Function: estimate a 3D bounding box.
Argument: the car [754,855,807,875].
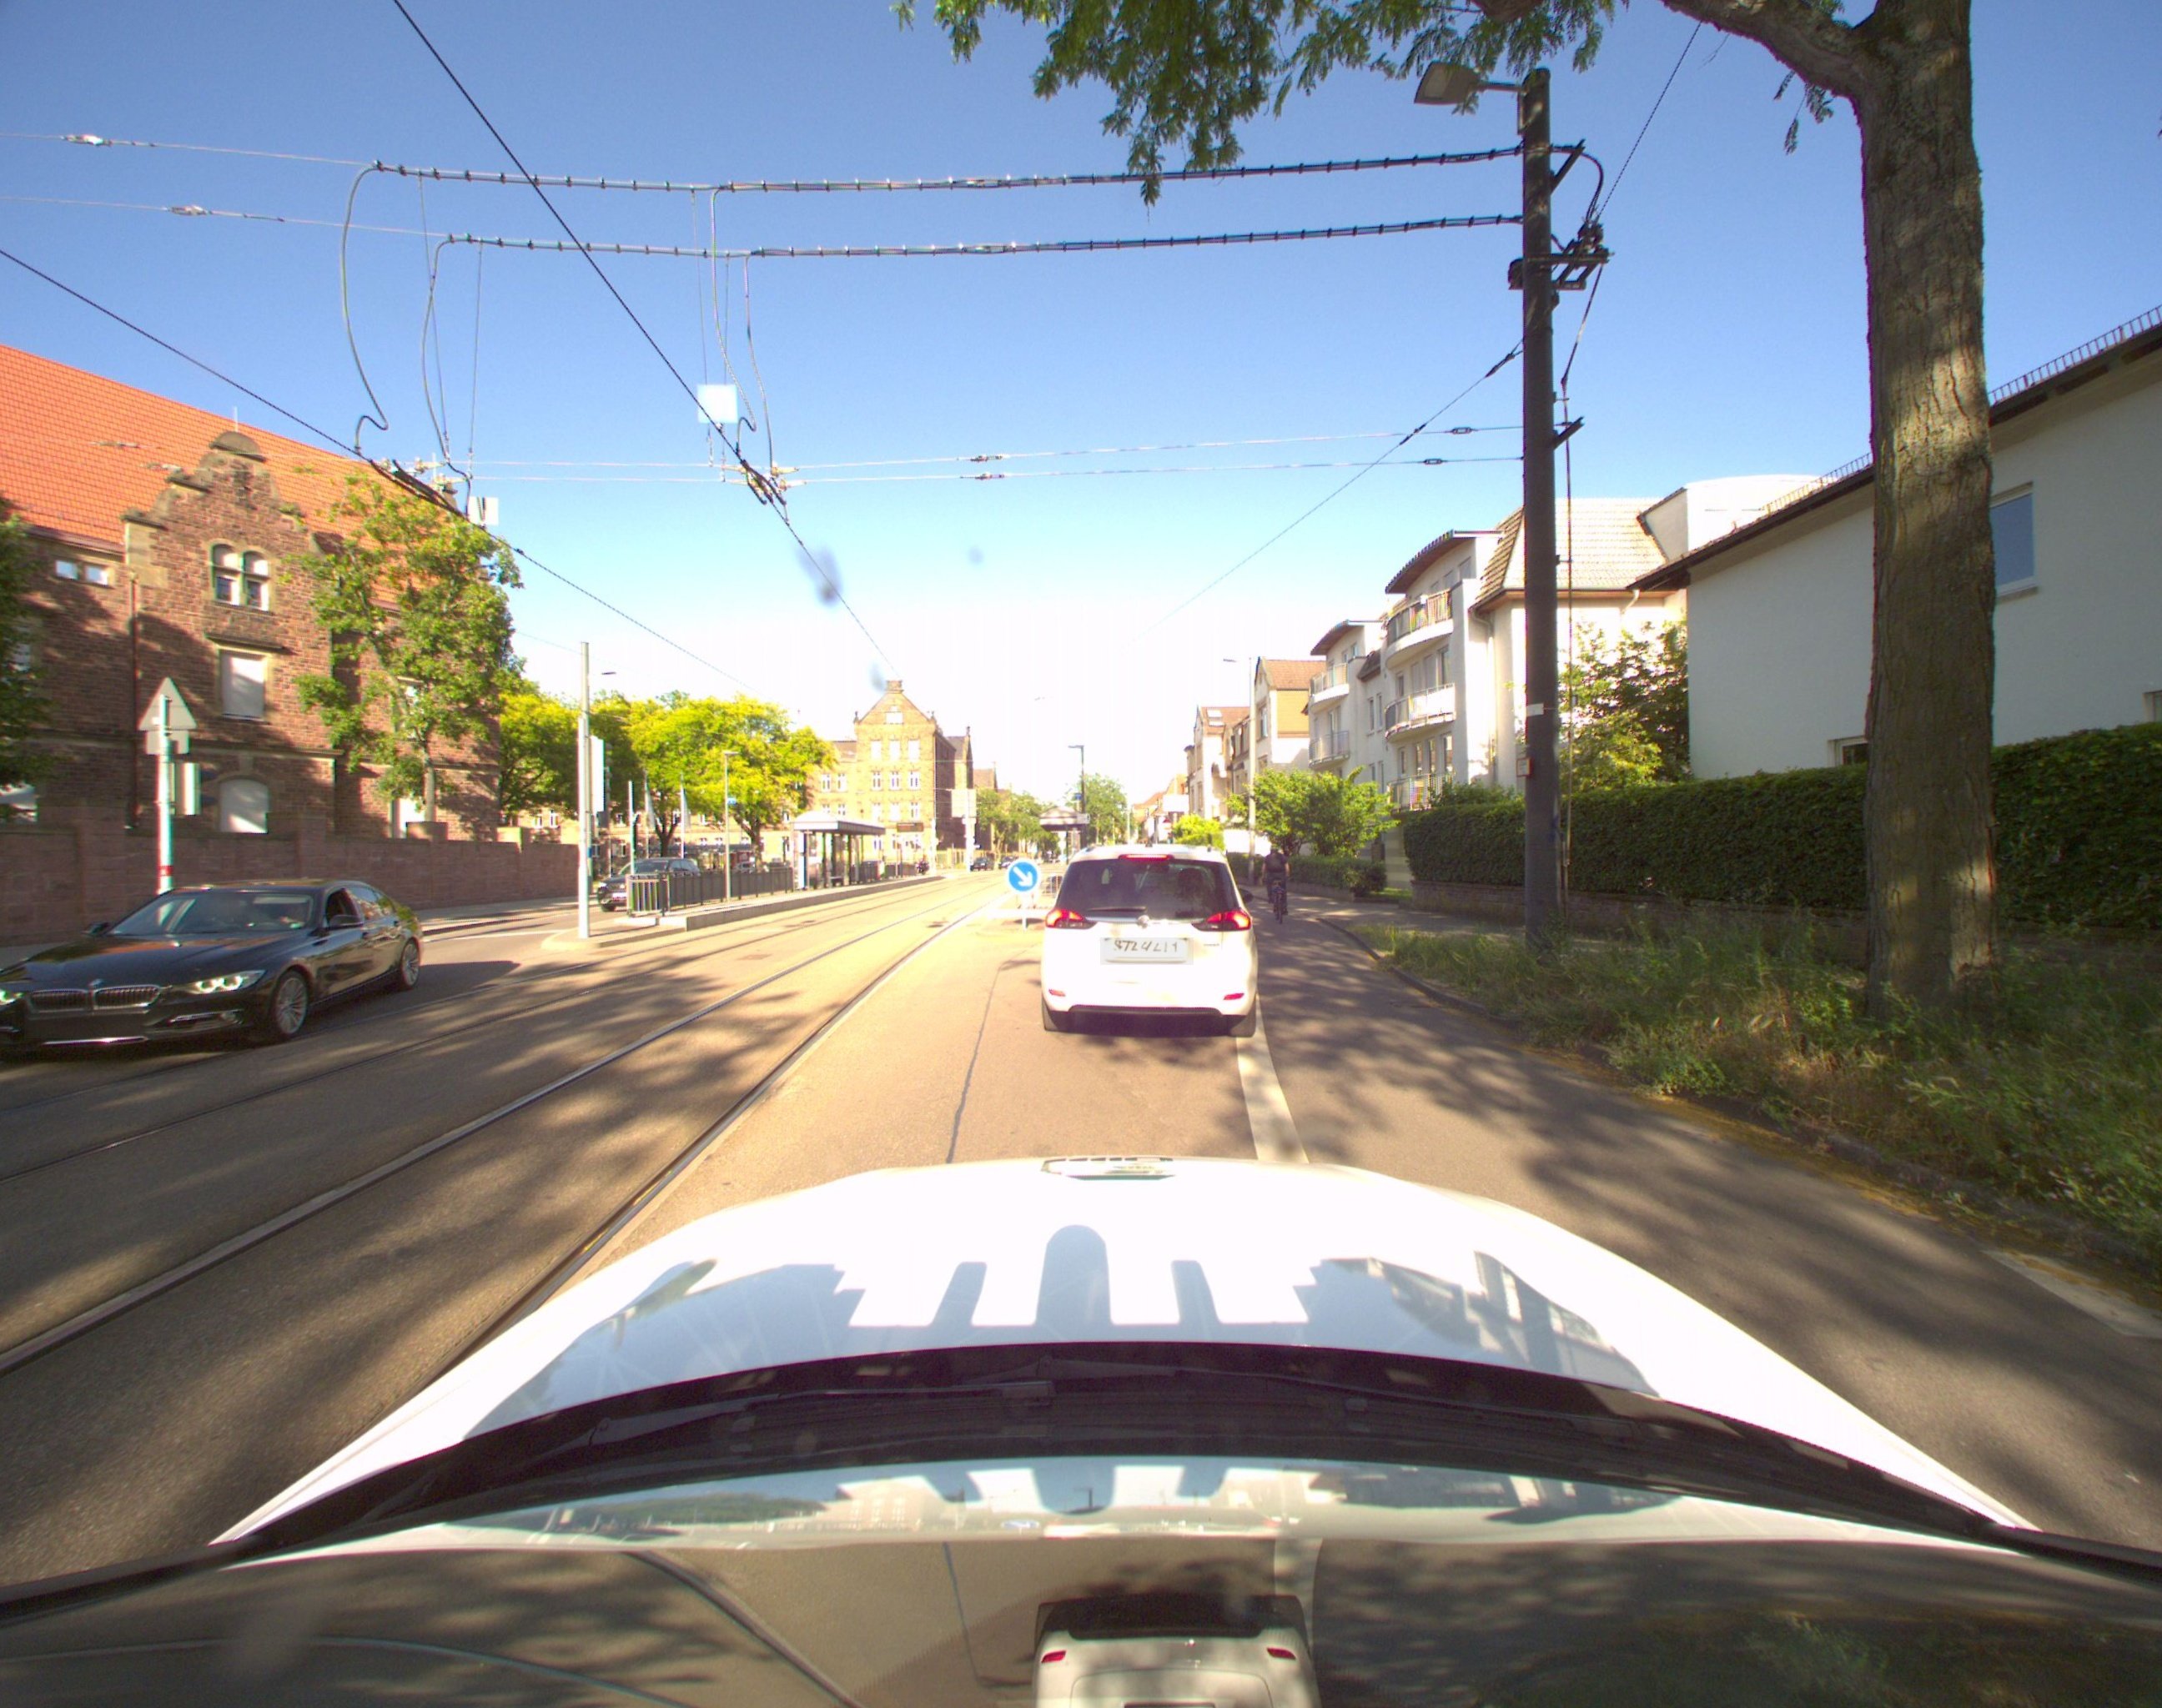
[{"bbox_3d":[-25.579,0.943,69.463,3.844,1.660,1.751,0,-1,1],"label":"car"}]

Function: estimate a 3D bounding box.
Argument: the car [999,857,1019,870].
[{"bbox_3d":[-8.905,1.137,100.950,1.986,1.546,4.001,0,-1,2],"label":"car"}]

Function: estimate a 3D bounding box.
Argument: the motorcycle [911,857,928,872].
[{"bbox_3d":[-13.580,0.905,68.521,1.128,1.243,2.569,0,-1,-4],"label":"motorcycle"}]

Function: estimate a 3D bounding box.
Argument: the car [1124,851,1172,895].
[{"bbox_3d":[2.628,0.732,32.516,1.768,1.632,3.883,0,-1,3],"label":"car"}]

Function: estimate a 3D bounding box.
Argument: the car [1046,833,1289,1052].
[{"bbox_3d":[0.659,0.684,8.131,1.829,1.642,3.918,0,-1,0],"label":"car"}]

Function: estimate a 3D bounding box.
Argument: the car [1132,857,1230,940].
[{"bbox_3d":[1.914,0.798,16.535,1.581,1.420,3.901,-1,0,1],"label":"car"}]

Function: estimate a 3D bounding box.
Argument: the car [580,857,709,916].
[{"bbox_3d":[-13.247,0.920,25.028,1.917,1.616,4.111,-2,0,-4],"label":"car"}]

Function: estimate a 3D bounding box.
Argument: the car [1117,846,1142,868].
[{"bbox_3d":[3.715,0.226,63.011,1.769,1.632,3.881,0,-1,1],"label":"car"}]

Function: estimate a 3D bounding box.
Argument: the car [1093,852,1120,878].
[{"bbox_3d":[1.752,0.759,55.926,1.769,1.692,3.881,0,-1,1],"label":"car"}]

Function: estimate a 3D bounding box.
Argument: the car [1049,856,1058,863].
[{"bbox_3d":[-6.737,1.304,199.711,1.901,1.677,4.356,-1,0,-1],"label":"car"}]

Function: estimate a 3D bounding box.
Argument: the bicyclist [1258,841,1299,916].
[{"bbox_3d":[4.425,0.542,18.283,0.683,1.634,1.016,0,-1,2],"label":"bicyclist"}]

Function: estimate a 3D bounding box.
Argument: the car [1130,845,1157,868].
[{"bbox_3d":[4.460,0.186,58.725,1.769,1.632,3.881,0,-1,1],"label":"car"}]

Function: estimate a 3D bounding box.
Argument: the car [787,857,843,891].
[{"bbox_3d":[-13.858,1.014,42.613,1.793,1.637,4.112,-2,0,-5],"label":"car"}]

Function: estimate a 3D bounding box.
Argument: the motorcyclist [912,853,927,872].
[{"bbox_3d":[-13.573,0.705,68.467,1.122,1.525,1.053,0,-1,-5],"label":"motorcyclist"}]

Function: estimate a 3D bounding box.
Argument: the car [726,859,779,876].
[{"bbox_3d":[-30.104,1.225,74.611,4.050,1.522,1.878,0,-1,1],"label":"car"}]

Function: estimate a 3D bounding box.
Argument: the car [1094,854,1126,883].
[{"bbox_3d":[1.687,0.833,47.532,1.769,1.632,3.882,0,-1,2],"label":"car"}]

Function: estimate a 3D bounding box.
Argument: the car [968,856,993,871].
[{"bbox_3d":[-10.572,1.026,85.607,1.986,1.546,4.001,0,-1,2],"label":"car"}]

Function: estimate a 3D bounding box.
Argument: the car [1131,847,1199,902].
[{"bbox_3d":[2.639,0.635,26.371,1.770,1.632,3.879,0,-1,-1],"label":"car"}]

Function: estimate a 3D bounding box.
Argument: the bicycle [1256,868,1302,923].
[{"bbox_3d":[4.430,0.904,18.335,0.683,1.157,1.620,0,-1,2],"label":"bicycle"}]

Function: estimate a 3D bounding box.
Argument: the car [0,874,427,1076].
[{"bbox_3d":[-8.478,0.971,8.334,1.743,1.422,4.226,-1,0,-24],"label":"car"}]

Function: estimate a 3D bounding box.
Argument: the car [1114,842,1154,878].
[{"bbox_3d":[2.482,0.271,39.186,1.769,1.632,3.882,0,-1,1],"label":"car"}]
